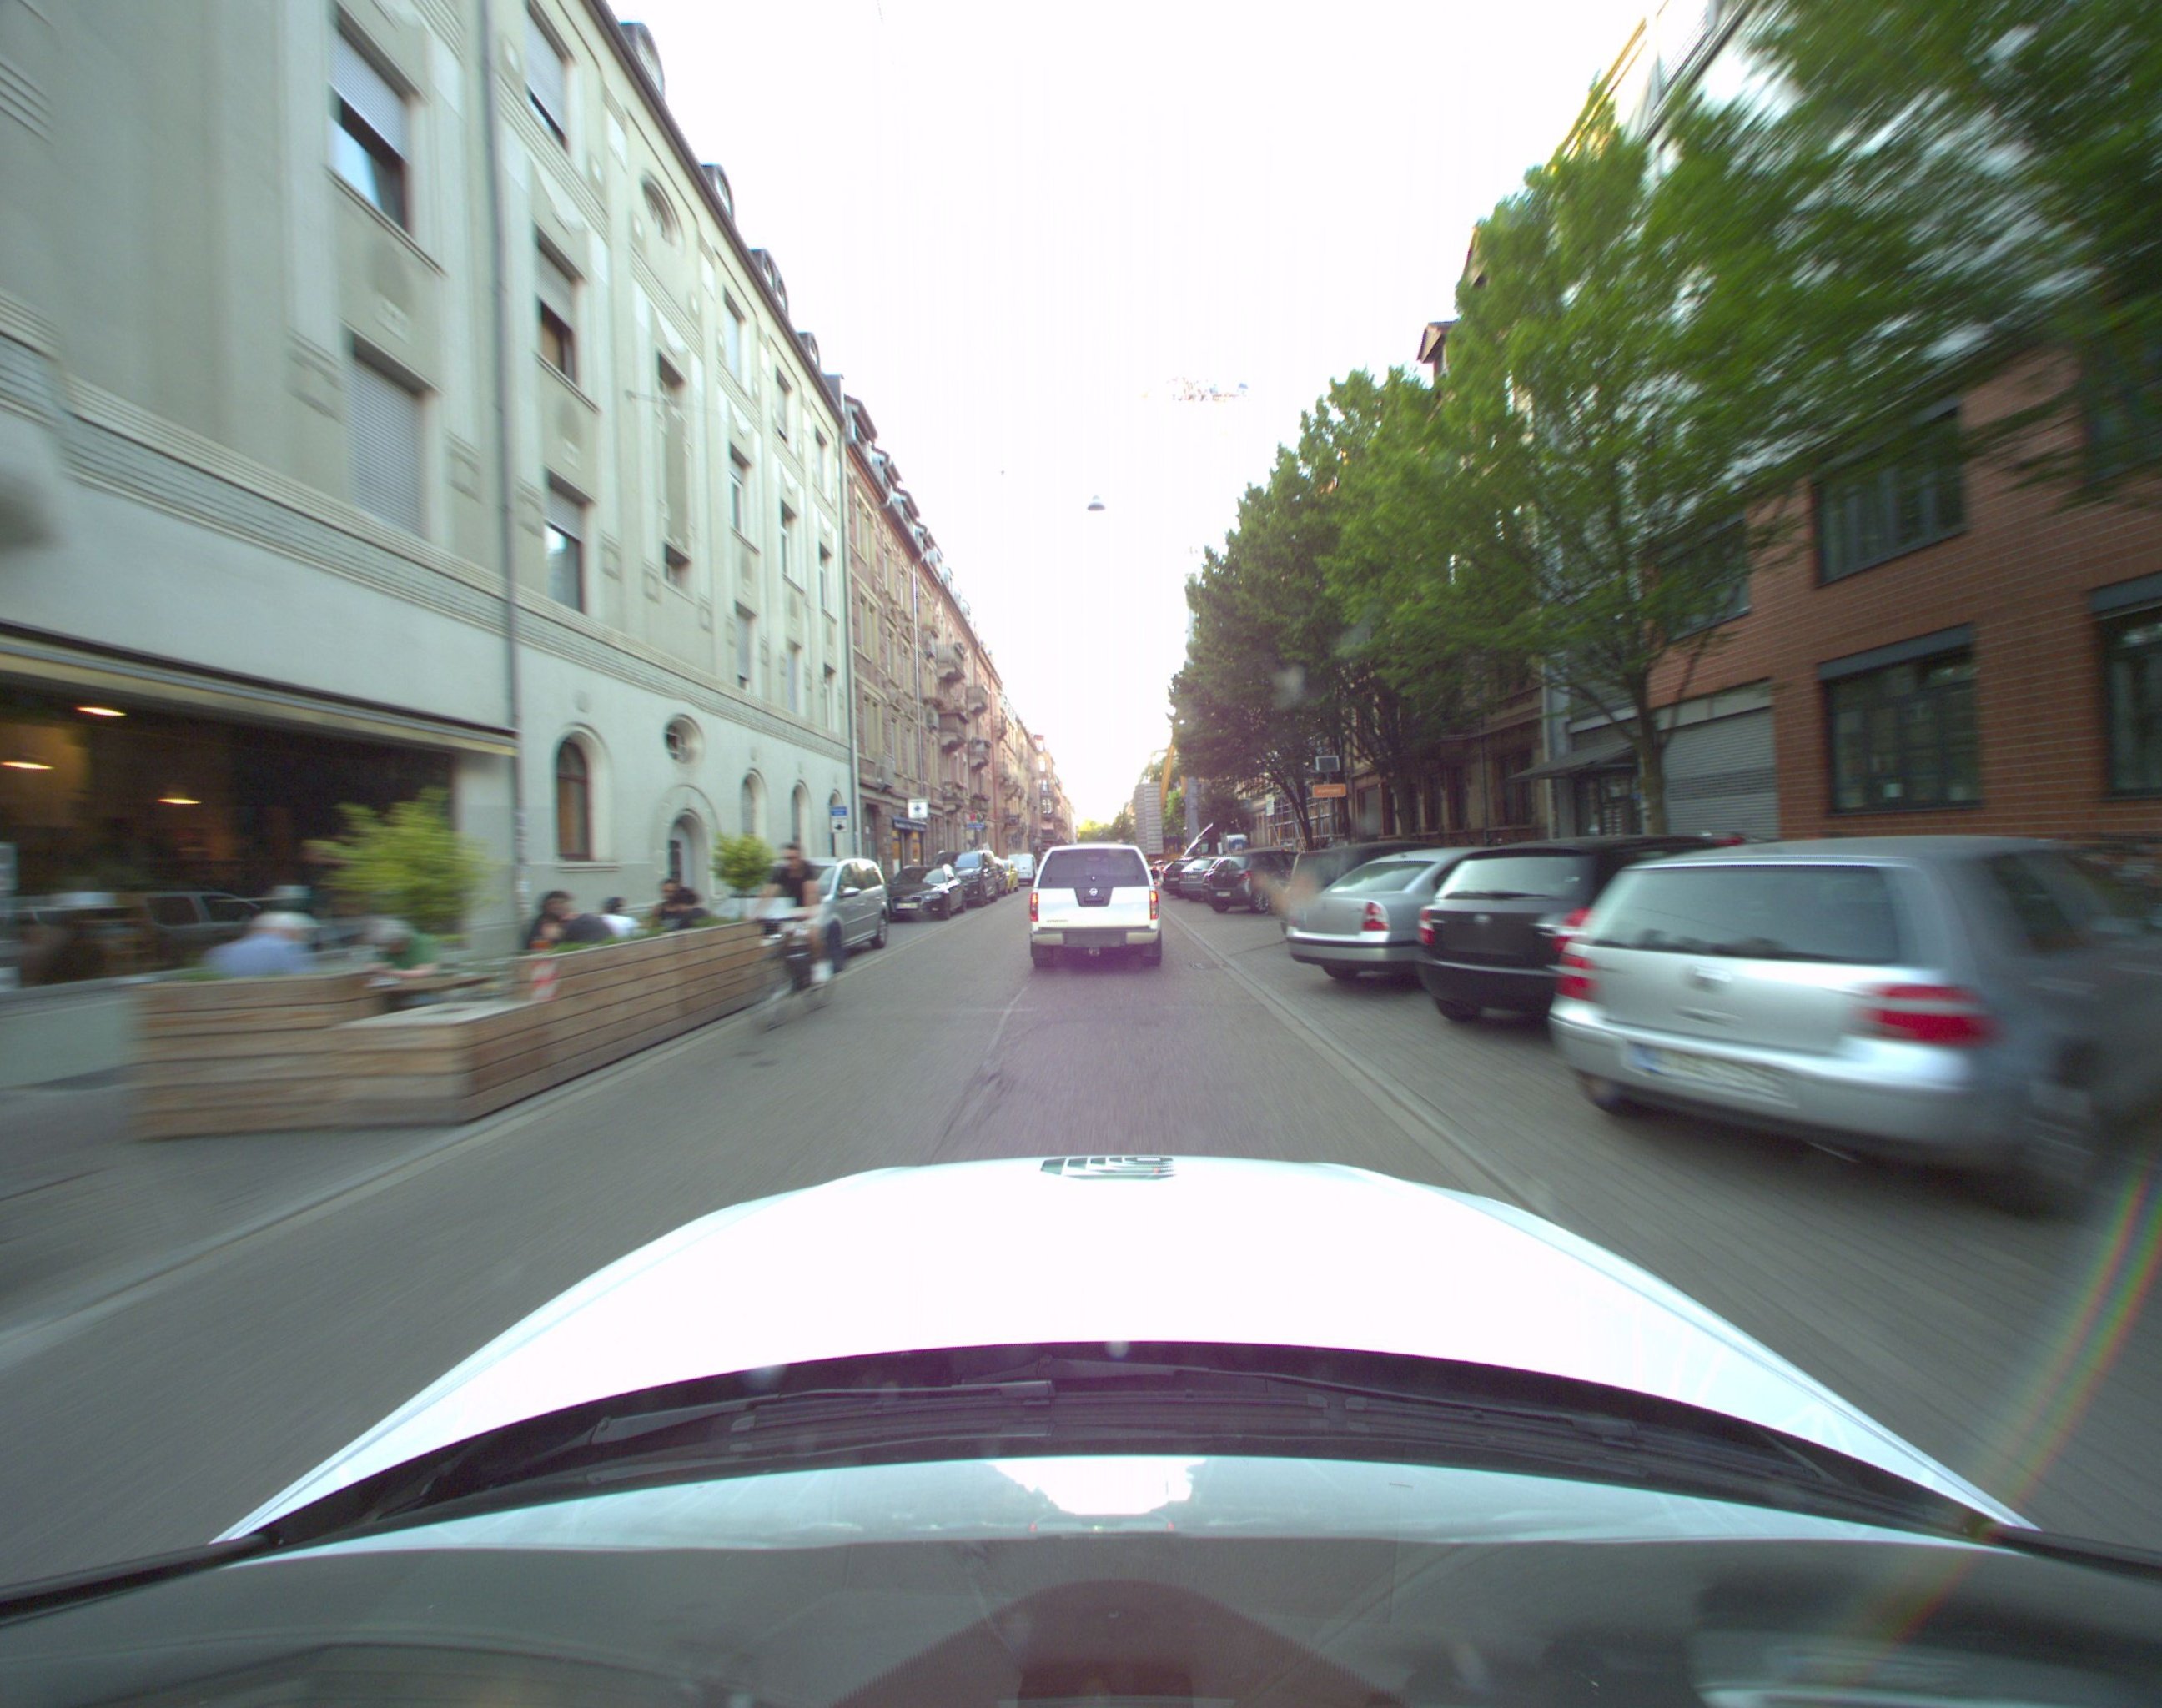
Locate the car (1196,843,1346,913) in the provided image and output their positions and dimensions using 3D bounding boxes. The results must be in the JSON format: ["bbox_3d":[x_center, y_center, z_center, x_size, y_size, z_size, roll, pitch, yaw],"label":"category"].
[{"bbox_3d":[4.911,0.569,20.993,3.418,1.474,1.757,-4,1,-30],"label":"car"}]

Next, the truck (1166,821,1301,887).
[{"bbox_3d":[7.511,0.046,40.648,6.295,2.977,2.265,-2,-3,2],"label":"truck"}]

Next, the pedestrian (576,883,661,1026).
[{"bbox_3d":[-4.632,0.985,8.190,0.467,1.350,0.611,-2,-1,0],"label":"pedestrian"}]

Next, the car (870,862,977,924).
[{"bbox_3d":[-4.156,0.977,22.232,1.905,1.472,4.534,-2,0,1],"label":"car"}]

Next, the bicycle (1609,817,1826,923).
[{"bbox_3d":[9.098,0.227,11.704,2.523,1.379,0.600,-3,-1,3],"label":"bicycle"}]

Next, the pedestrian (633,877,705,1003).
[{"bbox_3d":[-4.671,0.957,9.264,0.515,1.350,0.540,-2,-1,-2],"label":"pedestrian"}]

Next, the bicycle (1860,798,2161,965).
[{"bbox_3d":[8.776,0.234,7.477,2.523,1.379,0.600,-3,-1,3],"label":"bicycle"}]

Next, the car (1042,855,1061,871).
[{"bbox_3d":[-2.936,0.911,82.064,1.704,1.530,4.001,-2,0,1],"label":"car"}]

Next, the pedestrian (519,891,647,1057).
[{"bbox_3d":[-4.324,1.009,7.120,0.607,1.324,0.770,-2,-1,0],"label":"pedestrian"}]

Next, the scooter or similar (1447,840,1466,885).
[{"bbox_3d":[10.789,0.219,23.413,0.365,1.218,1.629,-6,-1,25],"label":"scooter or similar"}]

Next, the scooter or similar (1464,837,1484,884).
[{"bbox_3d":[10.812,0.166,22.426,0.365,1.218,1.714,-6,-1,25],"label":"scooter or similar"}]

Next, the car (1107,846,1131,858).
[{"bbox_3d":[7.391,-0.429,159.817,4.568,2.177,1.821,-2,0,3],"label":"car"}]

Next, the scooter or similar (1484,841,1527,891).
[{"bbox_3d":[11.014,0.291,21.172,0.409,1.218,1.781,-7,-1,13],"label":"scooter or similar"}]

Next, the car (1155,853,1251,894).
[{"bbox_3d":[4.897,0.743,32.540,3.571,1.464,1.596,-2,0,-30],"label":"car"}]

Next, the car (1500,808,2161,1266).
[{"bbox_3d":[4.206,0.575,4.300,3.613,1.482,1.707,-3,0,-27],"label":"car"}]

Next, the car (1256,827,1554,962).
[{"bbox_3d":[4.910,0.538,12.423,3.999,1.636,1.747,-4,0,-19],"label":"car"}]

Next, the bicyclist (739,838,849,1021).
[{"bbox_3d":[-2.848,0.708,8.188,0.600,1.684,1.143,-3,0,2],"label":"bicyclist"}]

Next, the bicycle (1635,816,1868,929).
[{"bbox_3d":[9.013,0.246,11.014,2.523,1.379,0.600,-3,-1,3],"label":"bicycle"}]

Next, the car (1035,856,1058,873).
[{"bbox_3d":[-3.224,0.995,76.374,1.785,1.530,4.001,-2,0,2],"label":"car"}]

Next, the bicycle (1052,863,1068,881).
[{"bbox_3d":[-1.176,0.999,45.964,0.798,0.947,2.004,-2,0,-1],"label":"bicycle"}]

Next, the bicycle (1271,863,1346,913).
[{"bbox_3d":[5.292,0.799,19.062,0.561,1.107,1.841,-1,-2,-27],"label":"bicycle"}]

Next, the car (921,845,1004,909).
[{"bbox_3d":[-3.945,0.731,27.899,1.897,1.925,4.949,-2,0,2],"label":"car"}]

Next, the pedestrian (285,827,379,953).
[{"bbox_3d":[-8.417,0.395,9.165,0.536,1.350,0.518,-2,-1,2],"label":"pedestrian"}]

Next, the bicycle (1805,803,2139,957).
[{"bbox_3d":[8.871,0.255,8.179,2.523,1.379,0.600,-3,-1,3],"label":"bicycle"}]

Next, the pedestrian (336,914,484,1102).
[{"bbox_3d":[-5.241,1.169,6.400,0.535,1.324,0.705,-2,-1,2],"label":"pedestrian"}]

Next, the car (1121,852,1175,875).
[{"bbox_3d":[5.410,0.760,65.816,4.177,1.780,1.821,-2,0,3],"label":"car"}]

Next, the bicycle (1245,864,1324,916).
[{"bbox_3d":[4.661,0.825,18.782,0.696,1.107,1.841,-2,-2,-28],"label":"bicycle"}]

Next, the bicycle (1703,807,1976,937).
[{"bbox_3d":[8.926,0.216,9.653,2.523,1.379,0.600,-3,-1,3],"label":"bicycle"}]

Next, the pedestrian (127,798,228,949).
[{"bbox_3d":[-10.266,0.213,9.266,0.536,1.654,0.518,-2,-1,1],"label":"pedestrian"}]

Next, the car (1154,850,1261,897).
[{"bbox_3d":[4.646,0.672,29.688,3.913,1.530,1.619,-2,0,-38],"label":"car"}]

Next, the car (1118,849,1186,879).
[{"bbox_3d":[4.550,0.641,51.741,4.173,1.780,1.823,-2,0,6],"label":"car"}]

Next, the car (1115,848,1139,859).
[{"bbox_3d":[9.228,-0.087,163.394,4.568,2.177,1.821,-2,0,3],"label":"car"}]

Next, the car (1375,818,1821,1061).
[{"bbox_3d":[4.444,0.552,6.939,3.614,1.534,1.549,-3,0,-27],"label":"car"}]

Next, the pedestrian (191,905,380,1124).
[{"bbox_3d":[-5.318,1.034,5.483,0.535,1.324,0.705,-2,-1,2],"label":"pedestrian"}]

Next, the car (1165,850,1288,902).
[{"bbox_3d":[4.859,0.700,27.088,3.853,1.436,1.744,-4,1,-34],"label":"car"}]

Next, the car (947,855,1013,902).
[{"bbox_3d":[-3.974,0.928,32.653,1.897,1.663,4.070,-3,0,3],"label":"car"}]

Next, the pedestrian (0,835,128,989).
[{"bbox_3d":[-8.320,0.445,6.480,0.555,1.154,0.748,-2,-1,0],"label":"pedestrian"}]

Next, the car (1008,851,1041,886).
[{"bbox_3d":[-3.255,0.834,47.342,1.554,1.921,3.856,-1,0,1],"label":"car"}]

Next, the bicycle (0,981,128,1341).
[{"bbox_3d":[-4.528,1.092,3.170,2.090,1.095,0.504,-2,1,26],"label":"bicycle"}]

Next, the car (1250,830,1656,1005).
[{"bbox_3d":[4.352,0.599,9.503,4.392,1.534,1.793,-3,0,-23],"label":"car"}]

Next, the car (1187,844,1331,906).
[{"bbox_3d":[5.310,0.611,24.301,3.843,1.530,1.748,-4,0,-25],"label":"car"}]

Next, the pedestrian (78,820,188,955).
[{"bbox_3d":[-10.144,0.351,8.726,0.536,1.383,0.518,-2,-1,1],"label":"pedestrian"}]

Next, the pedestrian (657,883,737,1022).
[{"bbox_3d":[-3.999,1.001,8.511,0.482,1.350,0.669,-2,-1,0],"label":"pedestrian"}]

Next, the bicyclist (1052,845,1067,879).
[{"bbox_3d":[-1.190,0.454,45.932,0.798,1.849,0.943,-2,0,-1],"label":"bicyclist"}]

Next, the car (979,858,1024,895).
[{"bbox_3d":[-3.667,1.007,38.222,1.493,1.593,3.859,-3,0,3],"label":"car"}]

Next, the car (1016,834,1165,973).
[{"bbox_3d":[0.289,0.661,12.964,1.924,1.794,4.627,-1,0,4],"label":"car"}]

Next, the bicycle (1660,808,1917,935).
[{"bbox_3d":[8.937,0.221,10.349,2.524,1.244,0.600,-8,-1,3],"label":"bicycle"}]

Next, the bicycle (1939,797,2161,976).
[{"bbox_3d":[8.775,0.231,6.755,2.523,1.379,0.600,-3,-1,3],"label":"bicycle"}]

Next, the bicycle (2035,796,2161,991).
[{"bbox_3d":[8.784,0.227,6.040,2.523,1.379,0.600,-3,-1,3],"label":"bicycle"}]

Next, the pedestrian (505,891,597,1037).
[{"bbox_3d":[-5.217,1.058,8.041,0.467,1.350,0.611,-2,-1,0],"label":"pedestrian"}]

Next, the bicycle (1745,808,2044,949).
[{"bbox_3d":[8.862,0.263,8.935,2.523,1.379,0.600,-3,-1,3],"label":"bicycle"}]

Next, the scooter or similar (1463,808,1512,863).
[{"bbox_3d":[9.859,-0.422,19.818,0.464,1.217,1.781,-10,-2,13],"label":"scooter or similar"}]

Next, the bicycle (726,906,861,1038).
[{"bbox_3d":[-2.831,1.114,8.246,0.612,1.040,1.904,-3,0,1],"label":"bicycle"}]

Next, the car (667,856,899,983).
[{"bbox_3d":[-4.451,0.877,13.000,1.987,1.591,4.314,-3,0,1],"label":"car"}]
